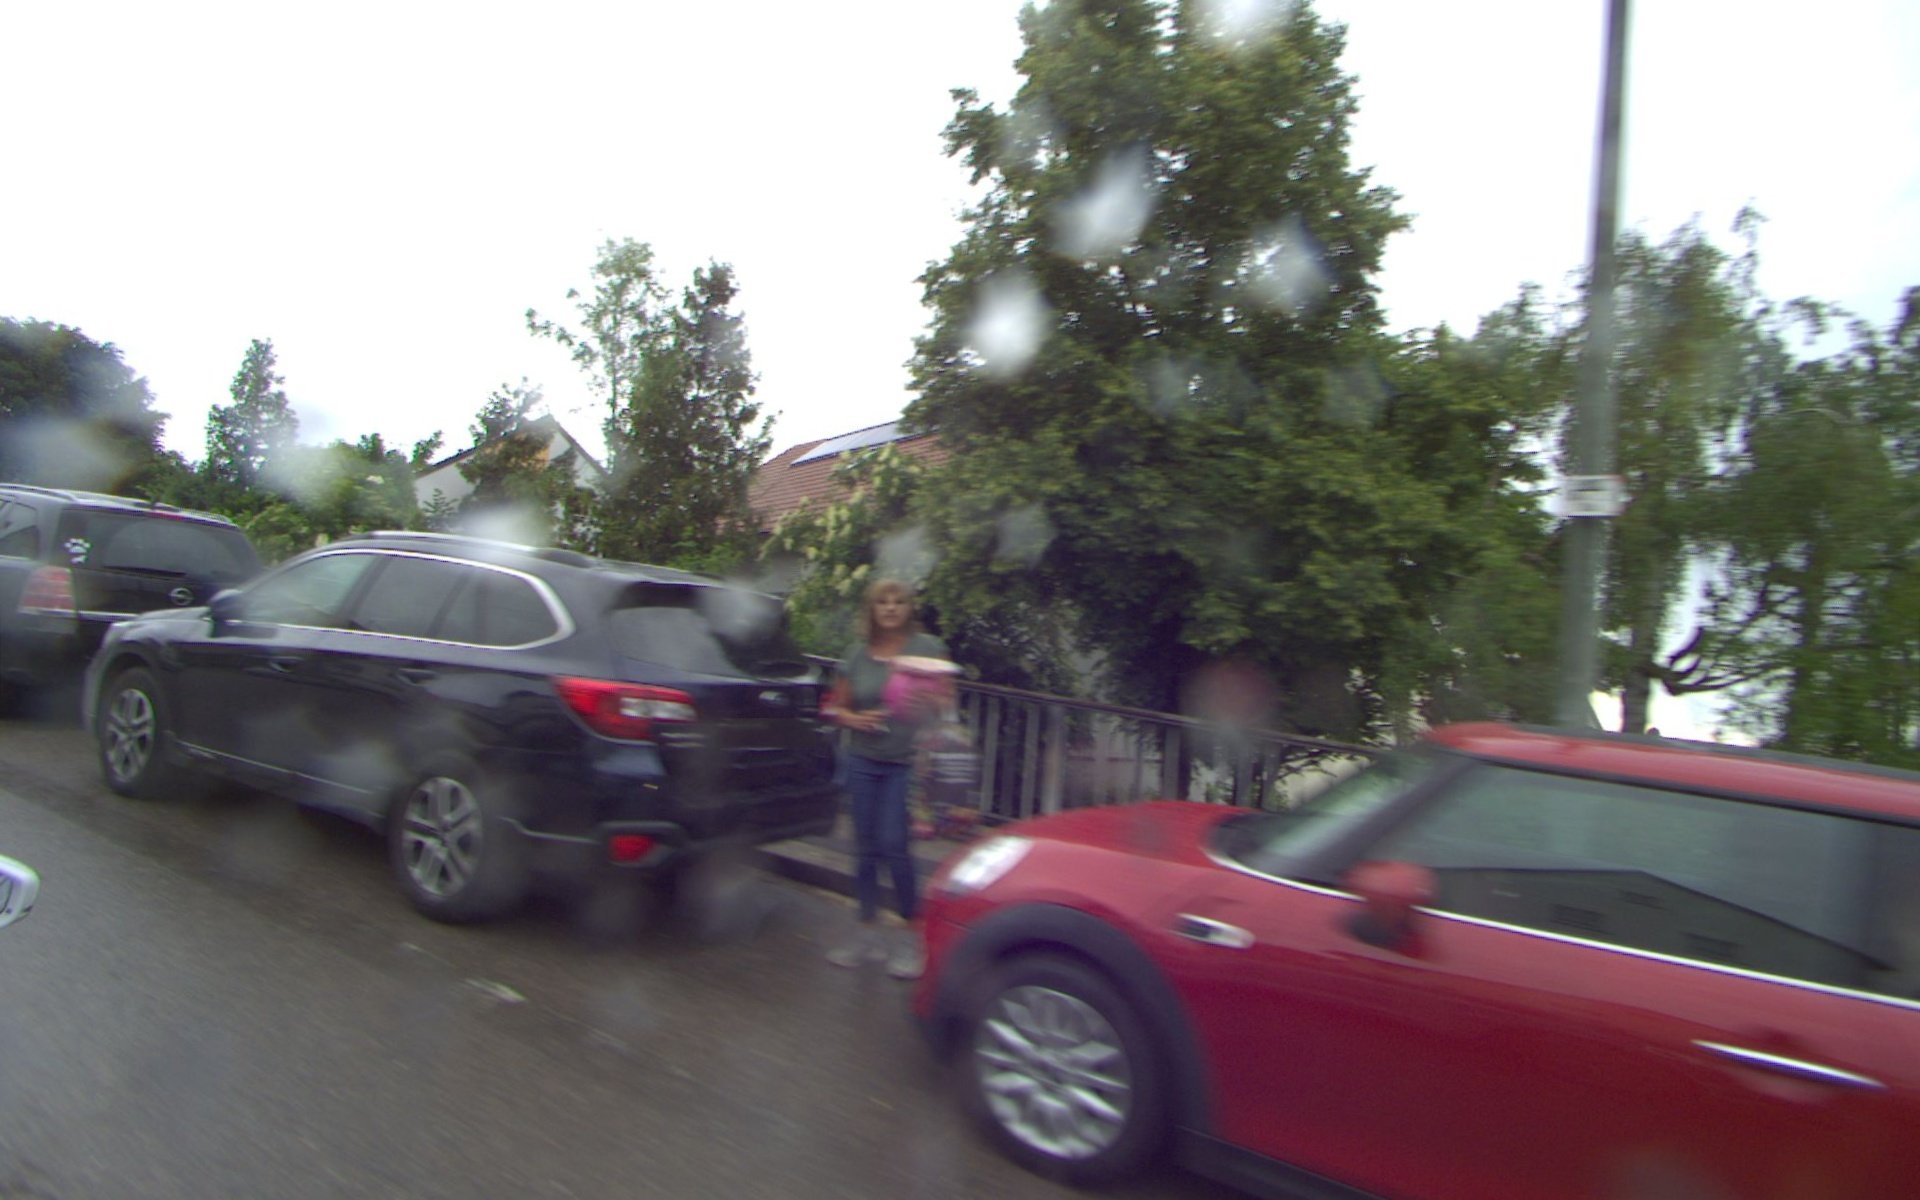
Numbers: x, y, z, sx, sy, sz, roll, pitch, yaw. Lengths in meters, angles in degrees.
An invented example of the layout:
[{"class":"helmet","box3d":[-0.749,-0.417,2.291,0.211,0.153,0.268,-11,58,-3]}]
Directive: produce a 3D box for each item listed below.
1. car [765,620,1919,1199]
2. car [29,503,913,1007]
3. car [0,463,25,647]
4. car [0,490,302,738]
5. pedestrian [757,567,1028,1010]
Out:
[{"class":"car","box3d":[1.498,1.025,3.048,3.787,1.431,1.739,6,-2,31]},{"class":"car","box3d":[-2.763,0.501,5.376,4.644,1.524,1.820,6,-2,29]},{"class":"car","box3d":[-12.478,-0.764,10.777,4.824,1.904,1.854,6,-1,26]},{"class":"car","box3d":[-7.426,-0.025,8.116,4.279,1.559,1.648,6,-2,29]},{"class":"pedestrian","box3d":[-0.271,0.751,4.347,0.695,1.654,0.718,7,-1,30]}]
